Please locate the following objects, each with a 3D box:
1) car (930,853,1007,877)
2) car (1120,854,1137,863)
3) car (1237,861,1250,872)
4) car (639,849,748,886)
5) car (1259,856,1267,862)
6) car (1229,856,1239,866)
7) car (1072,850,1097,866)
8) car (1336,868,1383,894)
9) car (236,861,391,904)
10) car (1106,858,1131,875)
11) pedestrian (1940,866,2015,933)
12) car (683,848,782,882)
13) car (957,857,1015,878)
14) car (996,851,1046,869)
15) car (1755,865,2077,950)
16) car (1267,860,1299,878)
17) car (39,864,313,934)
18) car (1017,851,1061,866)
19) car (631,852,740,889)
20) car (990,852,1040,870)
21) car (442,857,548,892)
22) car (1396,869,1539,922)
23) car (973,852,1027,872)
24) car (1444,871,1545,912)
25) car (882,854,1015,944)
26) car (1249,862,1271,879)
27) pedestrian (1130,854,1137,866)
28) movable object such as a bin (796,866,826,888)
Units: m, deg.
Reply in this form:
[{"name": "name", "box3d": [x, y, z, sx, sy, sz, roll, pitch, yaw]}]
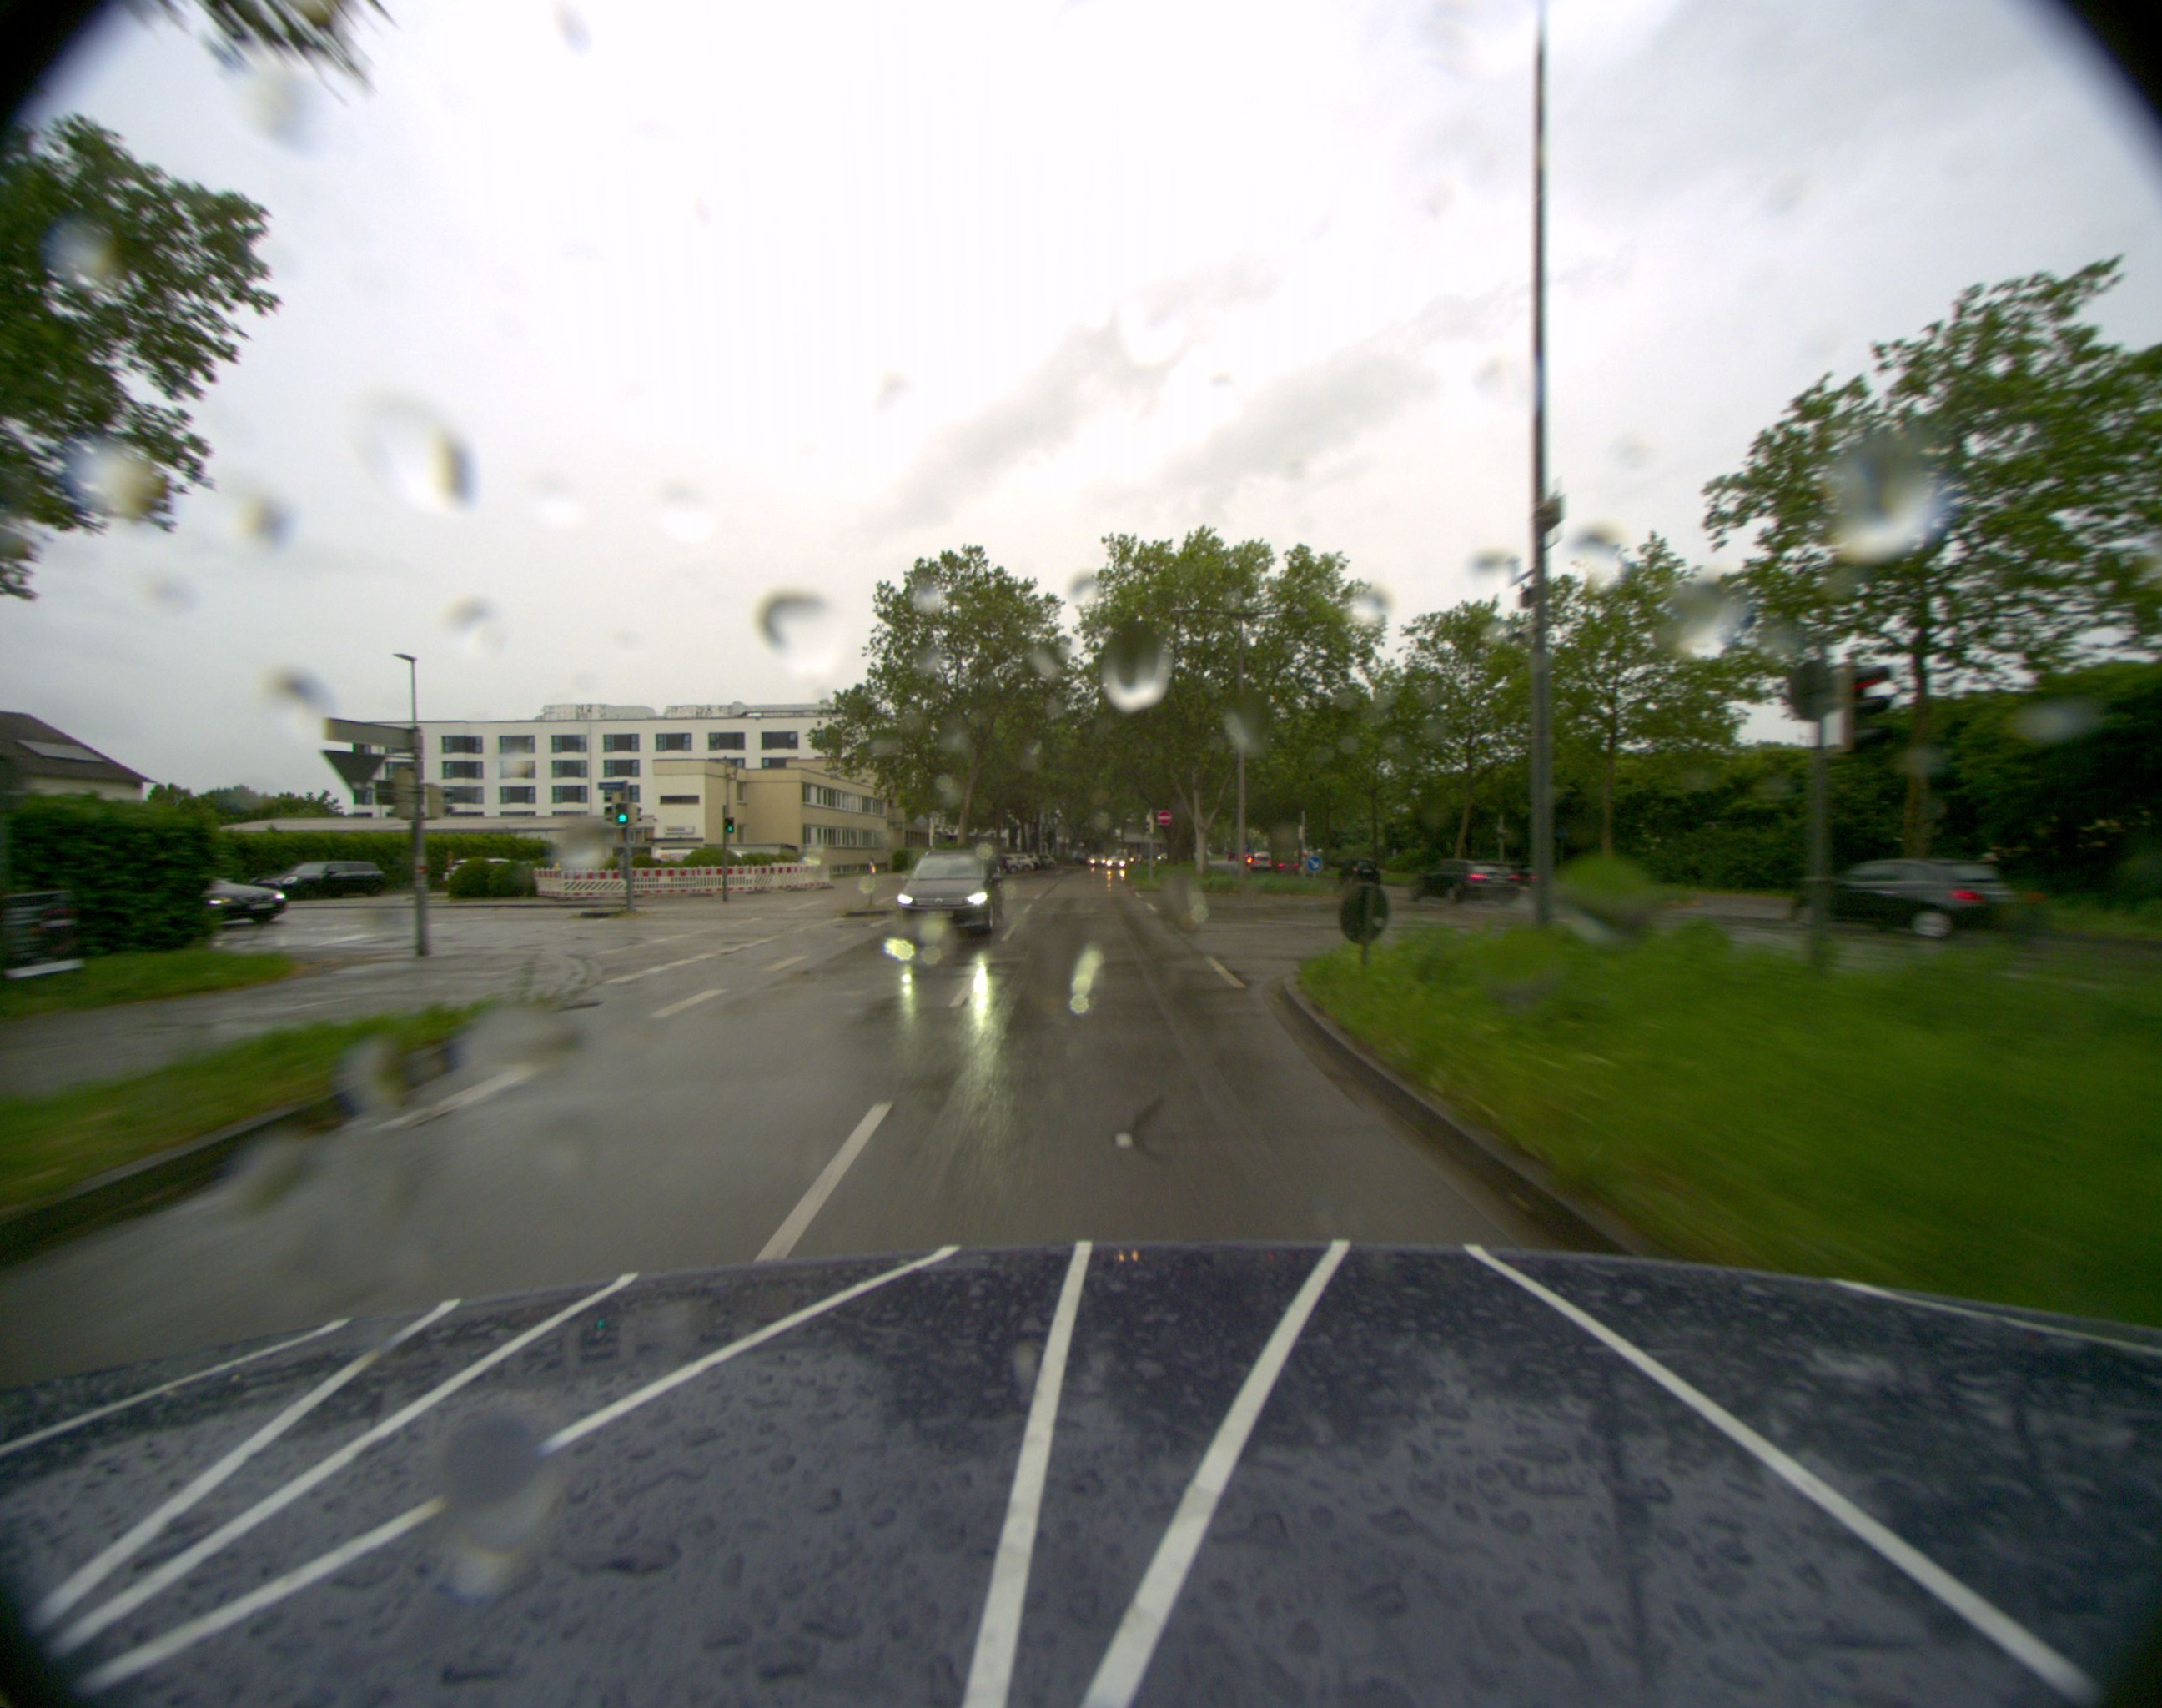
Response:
[{"name": "car", "box3d": [-7.034, 0.647, 47.412, 4.500, 1.450, 1.746, 0, 1, -20]}, {"name": "car", "box3d": [8.185, 0.777, 130.682, 1.745, 1.420, 4.874, 0, 0, 18]}, {"name": "car", "box3d": [22.953, 1.777, 107.518, 1.746, 1.430, 4.449, 0, -1, 11]}, {"name": "car", "box3d": [-19.313, 0.658, 37.998, 4.549, 1.747, 1.780, 0, 1, 0]}, {"name": "car", "box3d": [44.899, 1.202, 187.566, 1.746, 1.582, 4.334, 0, 0, 11]}, {"name": "car", "box3d": [30.049, 1.301, 149.373, 1.746, 1.831, 5.126, 0, 0, 13]}, {"name": "car", "box3d": [0.485, 0.447, 97.819, 2.124, 2.016, 5.532, 0, 0, 12]}, {"name": "car", "box3d": [16.202, 1.540, 44.282, 1.591, 1.365, 3.334, 0, 0, 2]}, {"name": "car", "box3d": [-29.546, 1.046, 29.465, 1.824, 1.523, 4.062, 0, 0, 2]}, {"name": "car", "box3d": [3.837, 1.210, 76.714, 1.997, 1.620, 4.525, 0, 0, 9]}, {"name": "pedestrian", "box3d": [23.168, 1.162, 19.660, 0.832, 1.664, 0.900, 0, 1, 1]}, {"name": "car", "box3d": [-18.638, 0.565, 40.751, 4.548, 1.747, 1.749, 0, 1, 2]}, {"name": "car", "box3d": [-6.647, 0.919, 53.364, 3.697, 1.408, 1.745, 0, 1, -23]}, {"name": "car", "box3d": [-5.345, 0.495, 67.339, 4.044, 1.530, 1.745, 0, 1, -25]}, {"name": "car", "box3d": [16.098, 0.941, 15.050, 1.591, 1.365, 4.261, 0, 0, -2]}, {"name": "car", "box3d": [16.945, 1.239, 63.966, 1.747, 1.400, 4.445, 0, 0, 4]}, {"name": "car", "box3d": [-21.316, 1.017, 18.031, 4.387, 1.475, 1.852, 0, 1, 2]}, {"name": "car", "box3d": [-4.197, 0.465, 76.503, 4.043, 1.420, 1.745, 0, 1, -23]}, {"name": "car", "box3d": [-18.531, 0.752, 35.691, 4.299, 1.581, 1.827, 0, 2, 11]}, {"name": "car", "box3d": [-5.401, 0.537, 62.106, 3.696, 1.408, 1.746, 0, 1, -20]}, {"name": "car", "box3d": [-28.894, 0.949, 37.649, 1.824, 1.581, 4.306, 0, 0, 2]}, {"name": "car", "box3d": [12.394, 1.279, 24.835, 2.009, 1.443, 4.990, 0, 0, -2]}, {"name": "car", "box3d": [-6.030, 0.589, 56.589, 3.697, 1.408, 1.772, 0, 1, -24]}, {"name": "car", "box3d": [15.866, 1.403, 29.397, 1.591, 1.365, 4.262, 0, 0, 1]}, {"name": "car", "box3d": [-2.649, 0.815, 16.598, 1.999, 1.585, 5.588, 0, 0, -1]}, {"name": "car", "box3d": [18.267, 1.688, 77.725, 1.747, 1.622, 4.446, 0, 0, 7]}, {"name": "pedestrian", "box3d": [9.180, 1.066, 132.892, 0.901, 2.002, 0.832, 0, 1, -22]}, {"name": "movable object such as a bin", "box3d": [-12.599, 1.052, 35.467, 1.072, 0.964, 0.713, 1, 2, 24]}]
